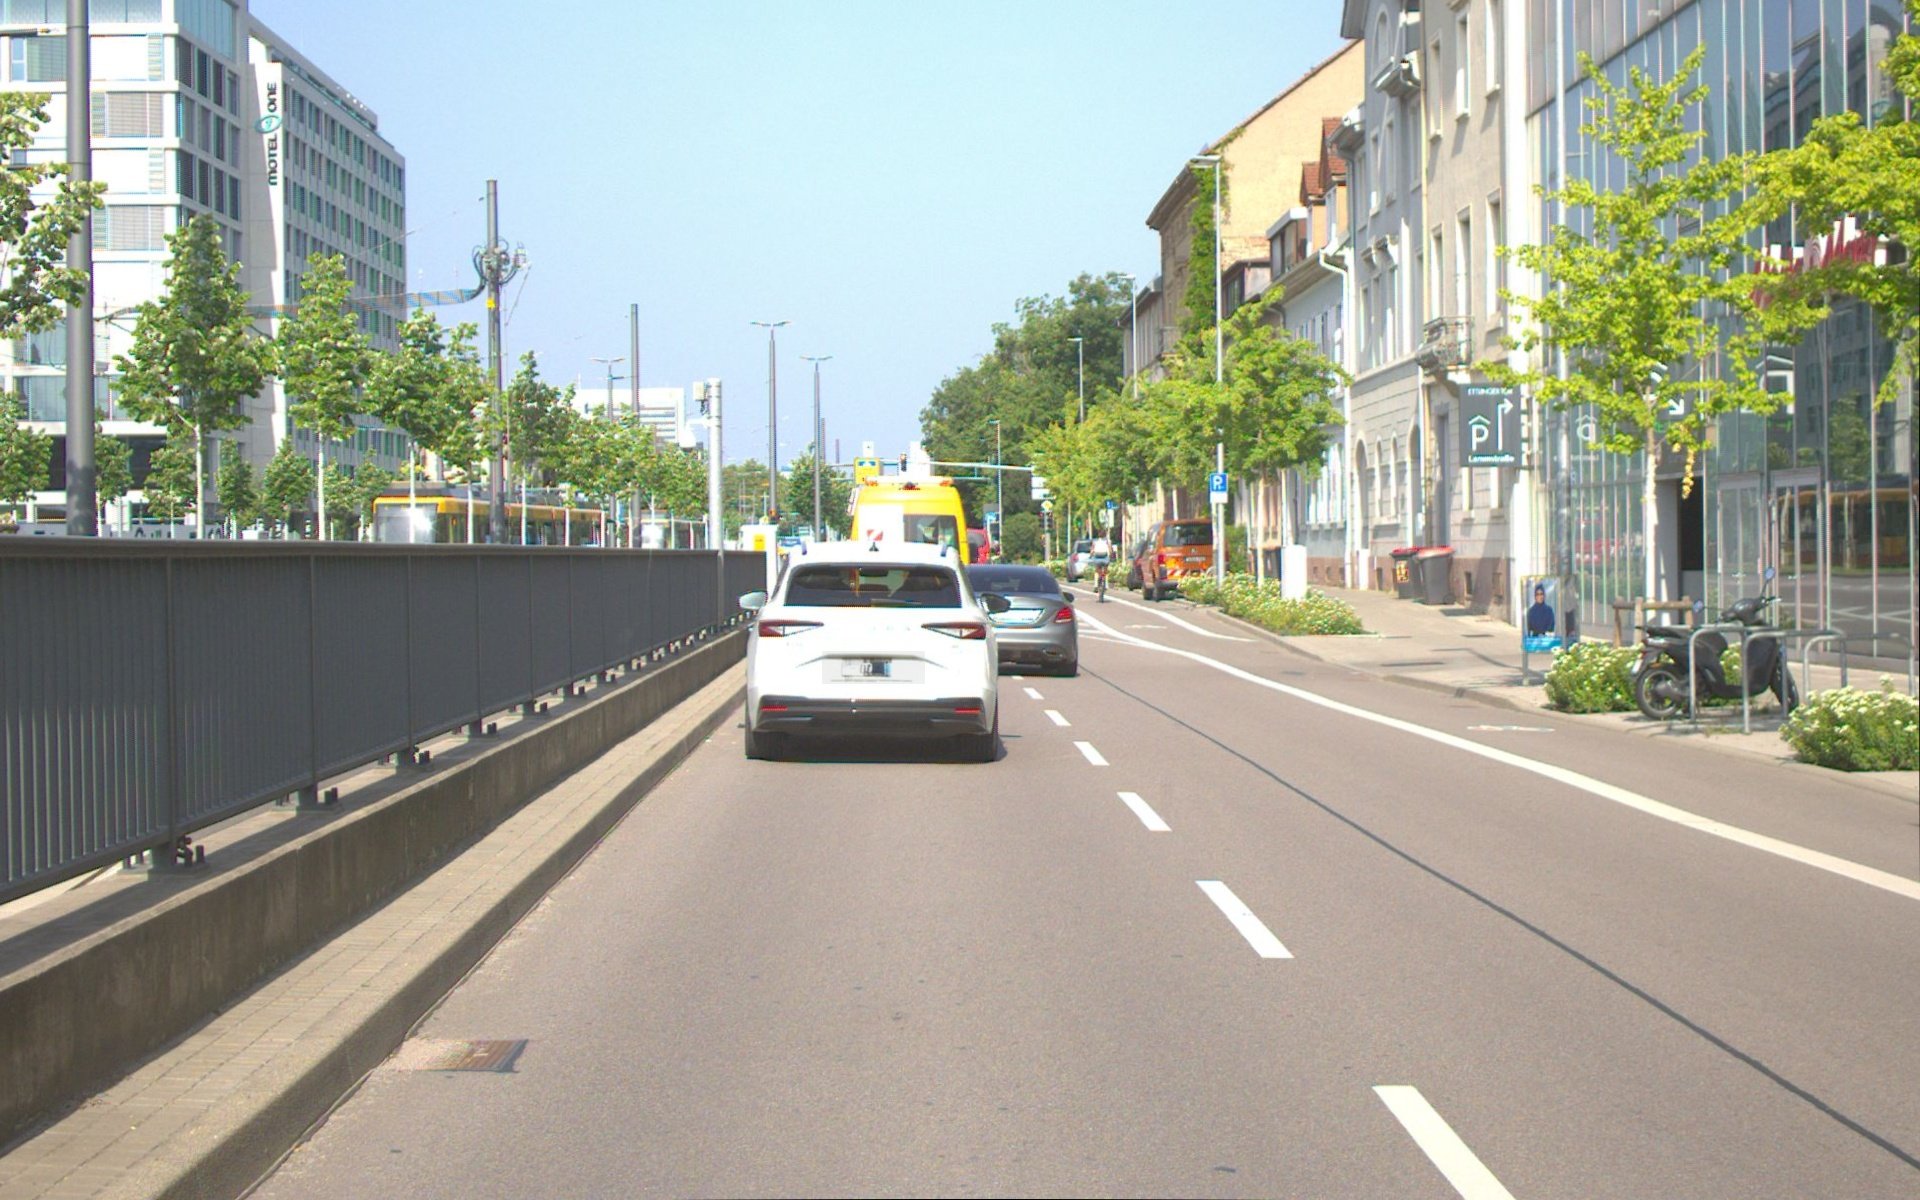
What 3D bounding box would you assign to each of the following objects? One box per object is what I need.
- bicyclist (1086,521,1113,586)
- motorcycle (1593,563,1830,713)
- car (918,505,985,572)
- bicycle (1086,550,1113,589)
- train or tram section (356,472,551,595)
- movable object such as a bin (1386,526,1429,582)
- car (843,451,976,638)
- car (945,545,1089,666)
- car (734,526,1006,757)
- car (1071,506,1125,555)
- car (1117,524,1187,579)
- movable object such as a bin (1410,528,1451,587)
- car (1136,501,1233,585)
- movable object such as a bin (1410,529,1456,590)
[{"bbox_3d":[3.388,-1.124,83.520,0.639,1.571,0.771,0,1,2],"label":"bicyclist"},{"bbox_3d":[7.026,0.344,32.177,1.968,1.345,0.868,-1,1,-11],"label":"motorcycle"},{"bbox_3d":[-0.284,-1.931,107.830,1.993,2.007,4.000,1,1,-1],"label":"car"},{"bbox_3d":[3.384,-0.741,83.485,0.655,0.935,1.517,0,1,2],"label":"bicycle"},{"bbox_3d":[-16.354,-2.145,112.777,2.906,3.663,18.136,1,1,2],"label":"train or tram section"},{"bbox_3d":[9.357,-0.964,71.866,0.669,1.148,0.617,-3,4,-44],"label":"movable object such as a bin"},{"bbox_3d":[-0.793,-0.971,55.628,2.020,2.786,5.402,0,3,0],"label":"car"},{"bbox_3d":[0.701,0.037,44.873,1.760,1.431,4.115,1,2,0],"label":"car"},{"bbox_3d":[-0.632,0.245,25.794,1.870,1.569,4.000,0,1,0],"label":"car"},{"bbox_3d":[5.190,-2.637,129.837,1.812,1.806,3.836,0,2,-1],"label":"car"},{"bbox_3d":[5.533,-1.412,99.625,1.673,1.478,4.312,-2,1,-1],"label":"car"},{"bbox_3d":[9.498,-0.861,69.416,0.704,1.148,0.671,0,3,-1],"label":"movable object such as a bin"},{"bbox_3d":[5.608,-1.450,86.354,2.063,2.006,4.589,0,2,-1],"label":"car"},{"bbox_3d":[9.409,-0.814,68.446,0.781,1.168,0.808,0,3,-1],"label":"movable object such as a bin"}]
